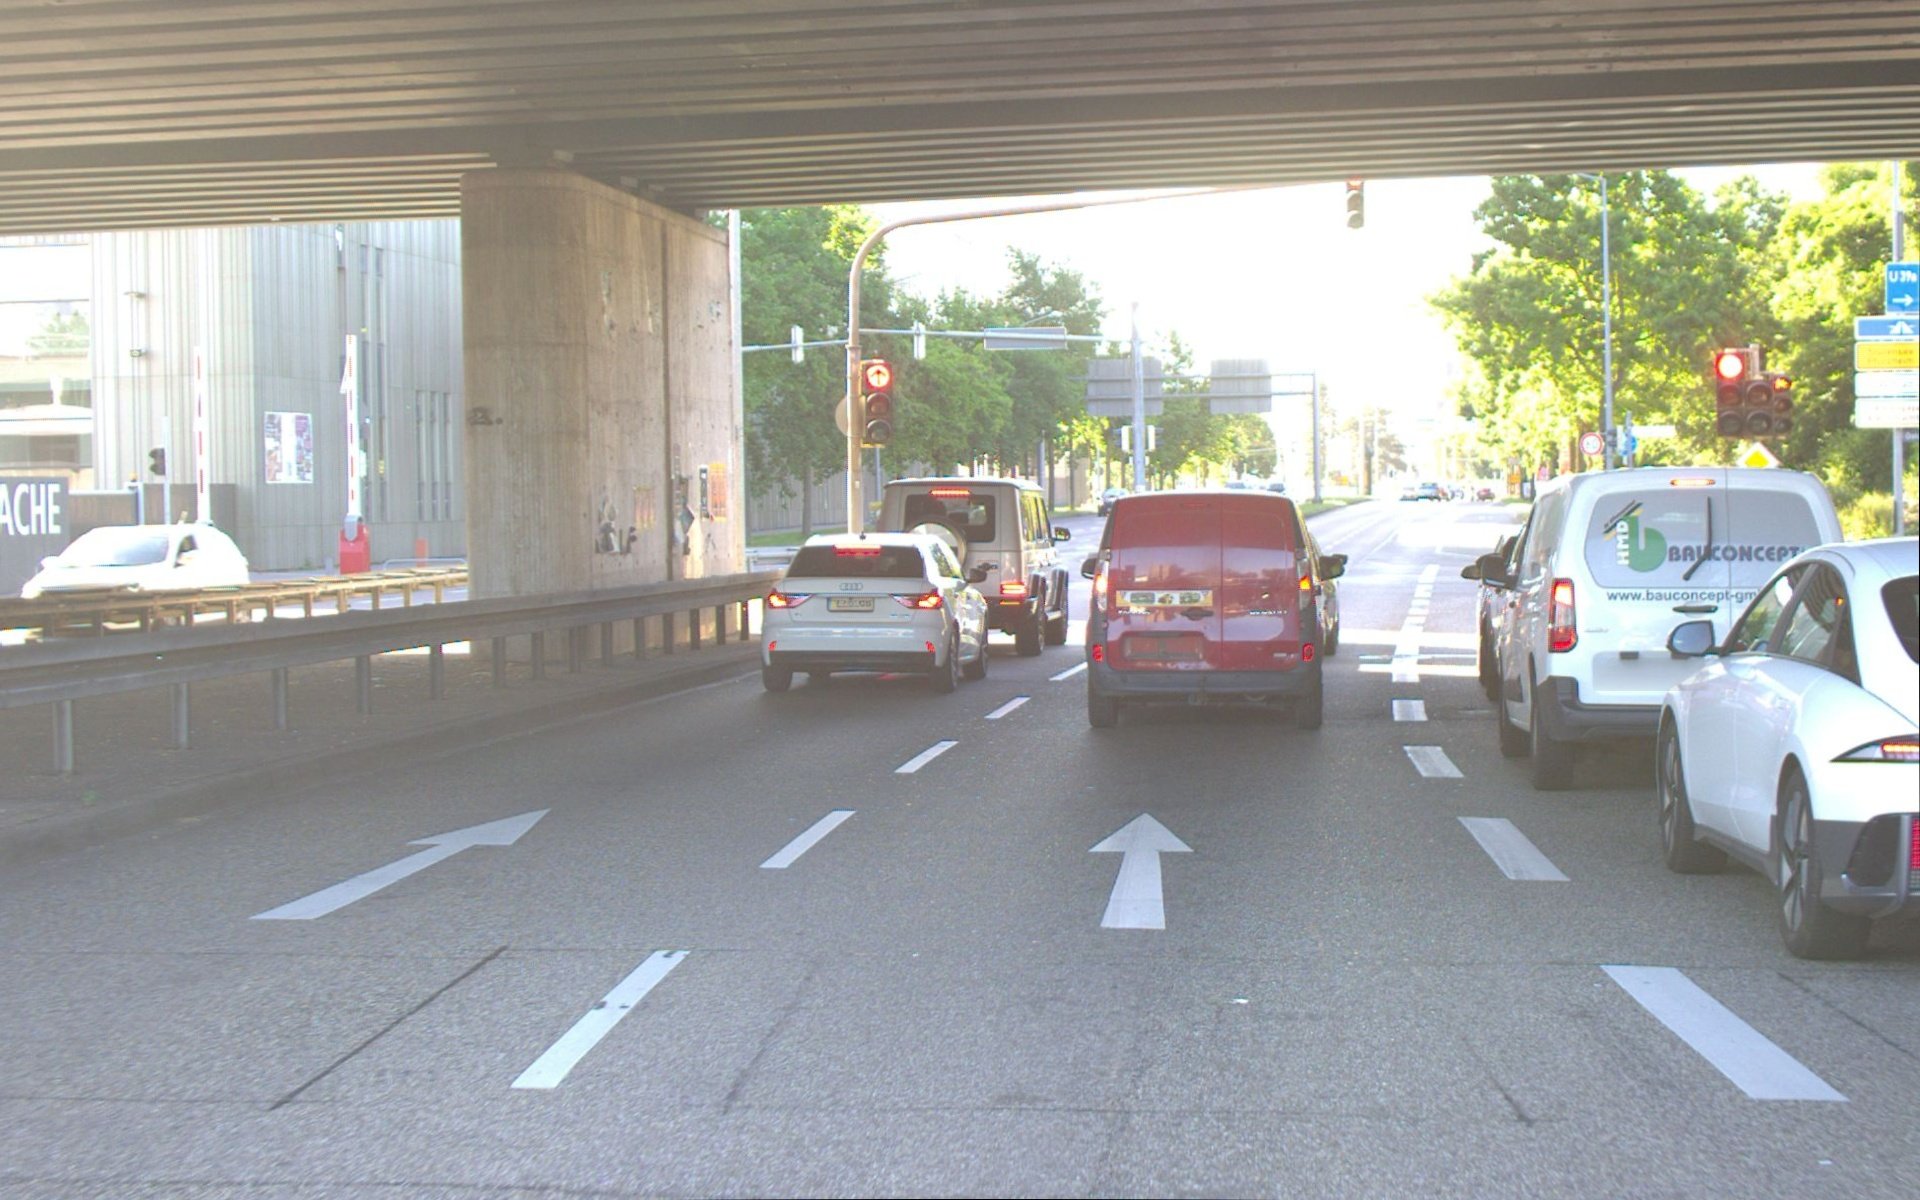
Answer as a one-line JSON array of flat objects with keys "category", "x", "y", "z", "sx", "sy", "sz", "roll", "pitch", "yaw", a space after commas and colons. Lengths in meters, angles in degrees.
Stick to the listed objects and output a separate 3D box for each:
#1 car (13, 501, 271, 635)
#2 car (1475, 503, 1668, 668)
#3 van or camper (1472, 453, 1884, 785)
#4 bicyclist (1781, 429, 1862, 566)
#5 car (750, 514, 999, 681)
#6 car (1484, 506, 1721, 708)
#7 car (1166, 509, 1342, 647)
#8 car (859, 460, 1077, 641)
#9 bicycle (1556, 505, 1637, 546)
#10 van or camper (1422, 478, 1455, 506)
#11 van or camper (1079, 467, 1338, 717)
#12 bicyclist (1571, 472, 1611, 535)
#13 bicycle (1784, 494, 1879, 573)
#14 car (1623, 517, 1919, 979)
[{"category": "car", "x": -10.495, "y": -0.427, "z": 44.404, "sx": 1.783, "sy": 1.639, "sz": 4.200, "roll": 0, "pitch": 1, "yaw": 9}, {"category": "car", "x": 5.887, "y": -0.172, "z": 33.419, "sx": 1.708, "sy": 1.515, "sz": 3.742, "roll": 0, "pitch": 1, "yaw": 8}, {"category": "van or camper", "x": 4.216, "y": 0.058, "z": 20.855, "sx": 1.826, "sy": 1.785, "sz": 4.544, "roll": 0, "pitch": 1, "yaw": 4}, {"category": "bicyclist", "x": 10.269, "y": -1.212, "z": 40.994, "sx": 0.751, "sy": 1.578, "sz": 0.925, "roll": -3, "pitch": 1, "yaw": 7}, {"category": "car", "x": -0.725, "y": -0.058, "z": 31.817, "sx": 1.708, "sy": 1.447, "sz": 3.742, "roll": 0, "pitch": 1, "yaw": 8}, {"category": "car", "x": 5.114, "y": 0.013, "z": 27.736, "sx": 1.708, "sy": 1.517, "sz": 3.742, "roll": 0, "pitch": 1, "yaw": 8}, {"category": "car", "x": 3.413, "y": -0.276, "z": 39.312, "sx": 1.764, "sy": 1.470, "sz": 4.288, "roll": -1, "pitch": 1, "yaw": 8}, {"category": "car", "x": 0.158, "y": -0.580, "z": 39.265, "sx": 1.867, "sy": 1.940, "sz": 4.595, "roll": 0, "pitch": 1, "yaw": 8}, {"category": "bicycle", "x": 16.454, "y": -1.916, "z": 88.842, "sx": 1.991, "sy": 0.957, "sz": 0.774, "roll": -3, "pitch": 1, "yaw": 12}, {"category": "van or camper", "x": 33.457, "y": -7.527, "z": 240.171, "sx": 1.786, "sy": 1.857, "sz": 3.906, "roll": -3, "pitch": 1, "yaw": 14}, {"category": "van or camper", "x": 2.021, "y": -0.098, "z": 26.958, "sx": 1.754, "sy": 1.807, "sz": 3.958, "roll": 0, "pitch": 1, "yaw": 8}, {"category": "bicyclist", "x": 16.320, "y": -2.490, "z": 88.847, "sx": 0.923, "sy": 1.578, "sz": 0.769, "roll": -3, "pitch": 1, "yaw": 12}, {"category": "bicycle", "x": 10.391, "y": -0.794, "z": 41.053, "sx": 0.772, "sy": 0.890, "sz": 1.996, "roll": -3, "pitch": 1, "yaw": 6}, {"category": "car", "x": 3.767, "y": 0.424, "z": 13.085, "sx": 1.763, "sy": 1.470, "sz": 4.289, "roll": -1, "pitch": 1, "yaw": 2}]
